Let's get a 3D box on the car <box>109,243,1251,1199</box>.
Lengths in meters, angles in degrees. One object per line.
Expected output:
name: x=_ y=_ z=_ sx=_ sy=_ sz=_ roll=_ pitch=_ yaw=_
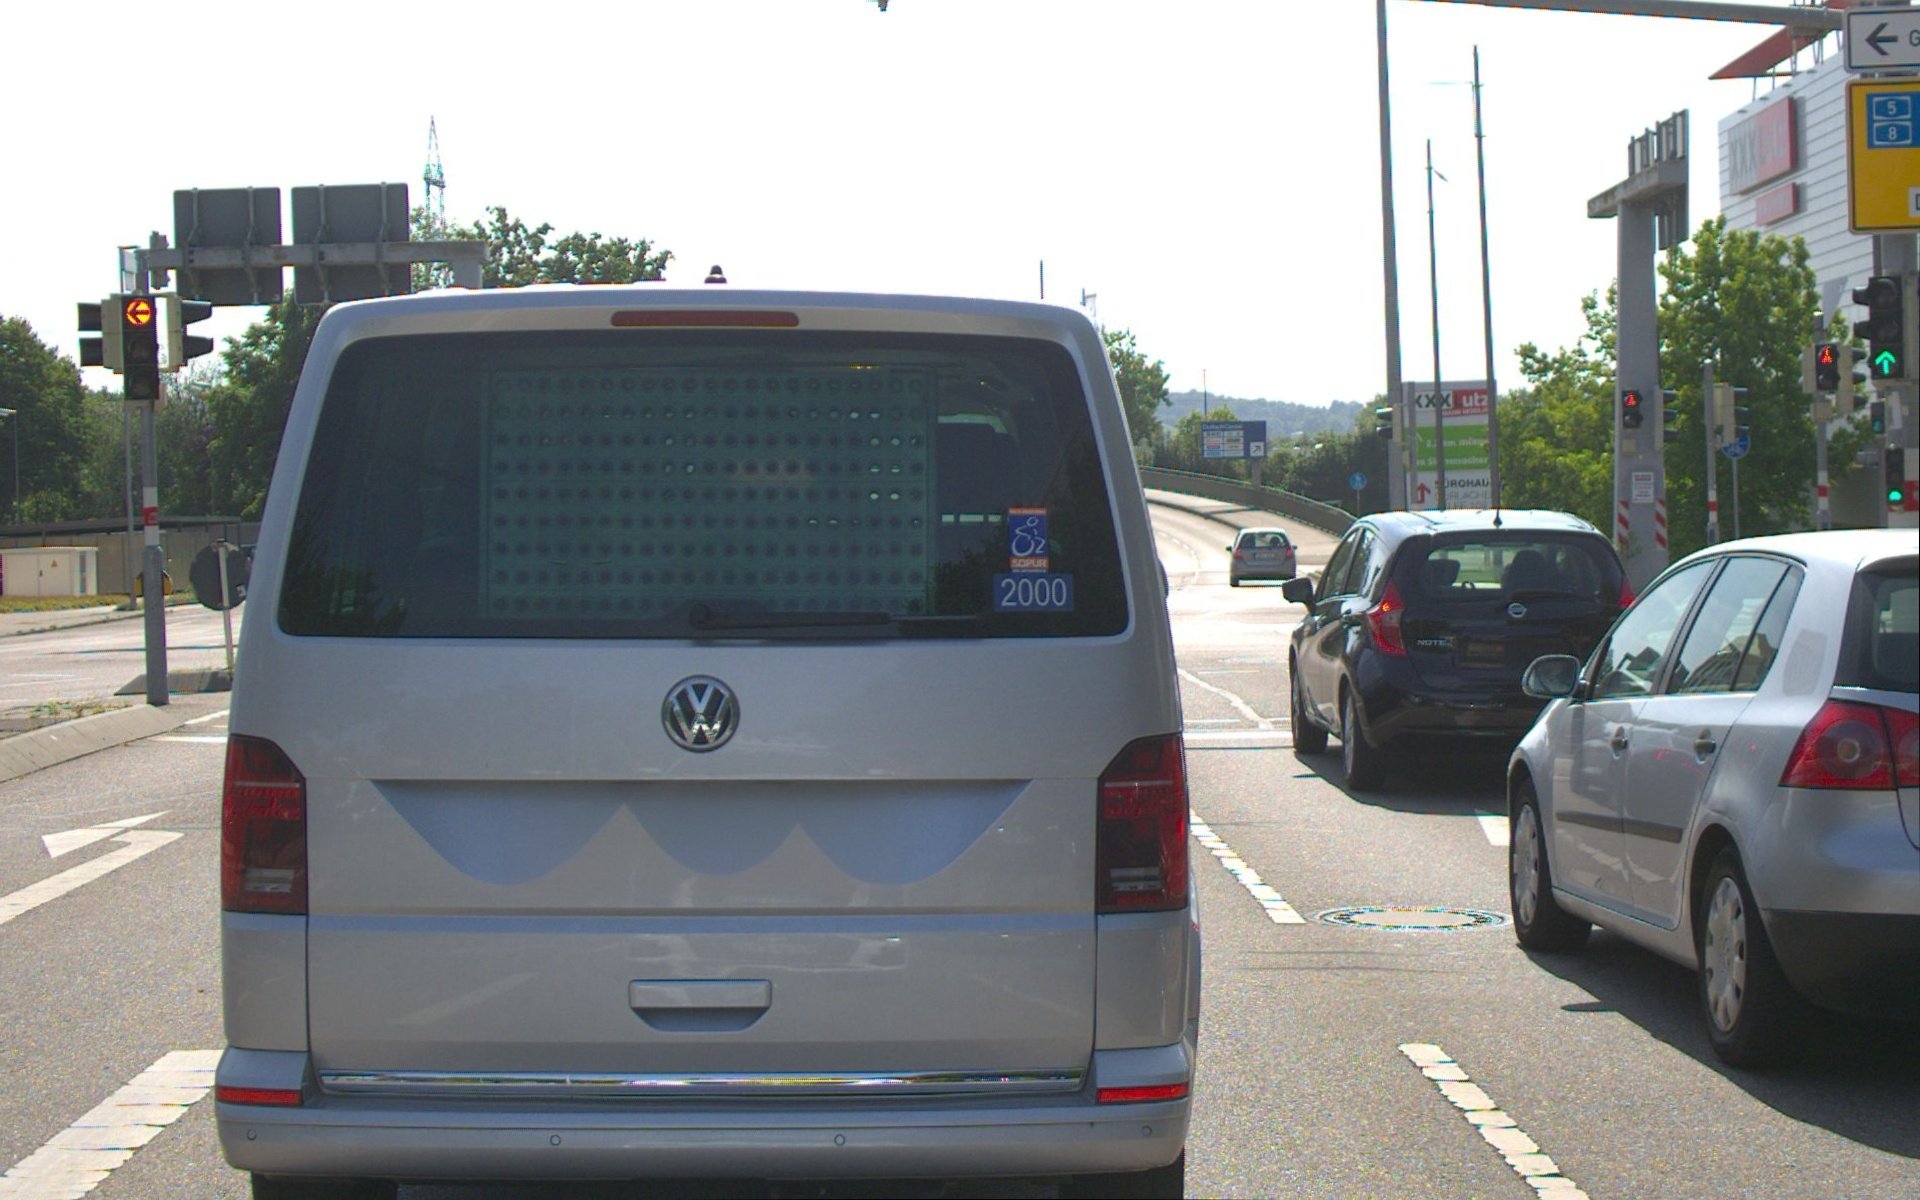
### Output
car: x=-0.501 y=0.332 z=7.943 sx=1.917 sy=1.968 sz=4.297 roll=0 pitch=1 yaw=-1

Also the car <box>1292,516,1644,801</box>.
car: x=2.818 y=0.262 z=19.701 sx=1.531 sy=1.474 sz=3.596 roll=0 pitch=1 yaw=1

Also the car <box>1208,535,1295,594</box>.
car: x=7.527 y=-0.930 z=89.080 sx=1.530 sy=1.433 sz=3.248 roll=-2 pitch=1 yaw=-8

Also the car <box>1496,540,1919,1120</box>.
car: x=2.792 y=0.539 z=10.399 sx=1.666 sy=1.409 sz=3.683 roll=0 pitch=1 yaw=-2

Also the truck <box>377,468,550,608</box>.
truck: x=-13.810 y=-1.783 z=96.217 sx=2.747 sy=3.667 sz=7.578 roll=-2 pitch=1 yaw=7

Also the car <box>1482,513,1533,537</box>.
car: x=34.670 y=-4.735 z=217.739 sx=1.993 sy=1.415 sz=4.001 roll=1 pitch=0 yaw=-9
